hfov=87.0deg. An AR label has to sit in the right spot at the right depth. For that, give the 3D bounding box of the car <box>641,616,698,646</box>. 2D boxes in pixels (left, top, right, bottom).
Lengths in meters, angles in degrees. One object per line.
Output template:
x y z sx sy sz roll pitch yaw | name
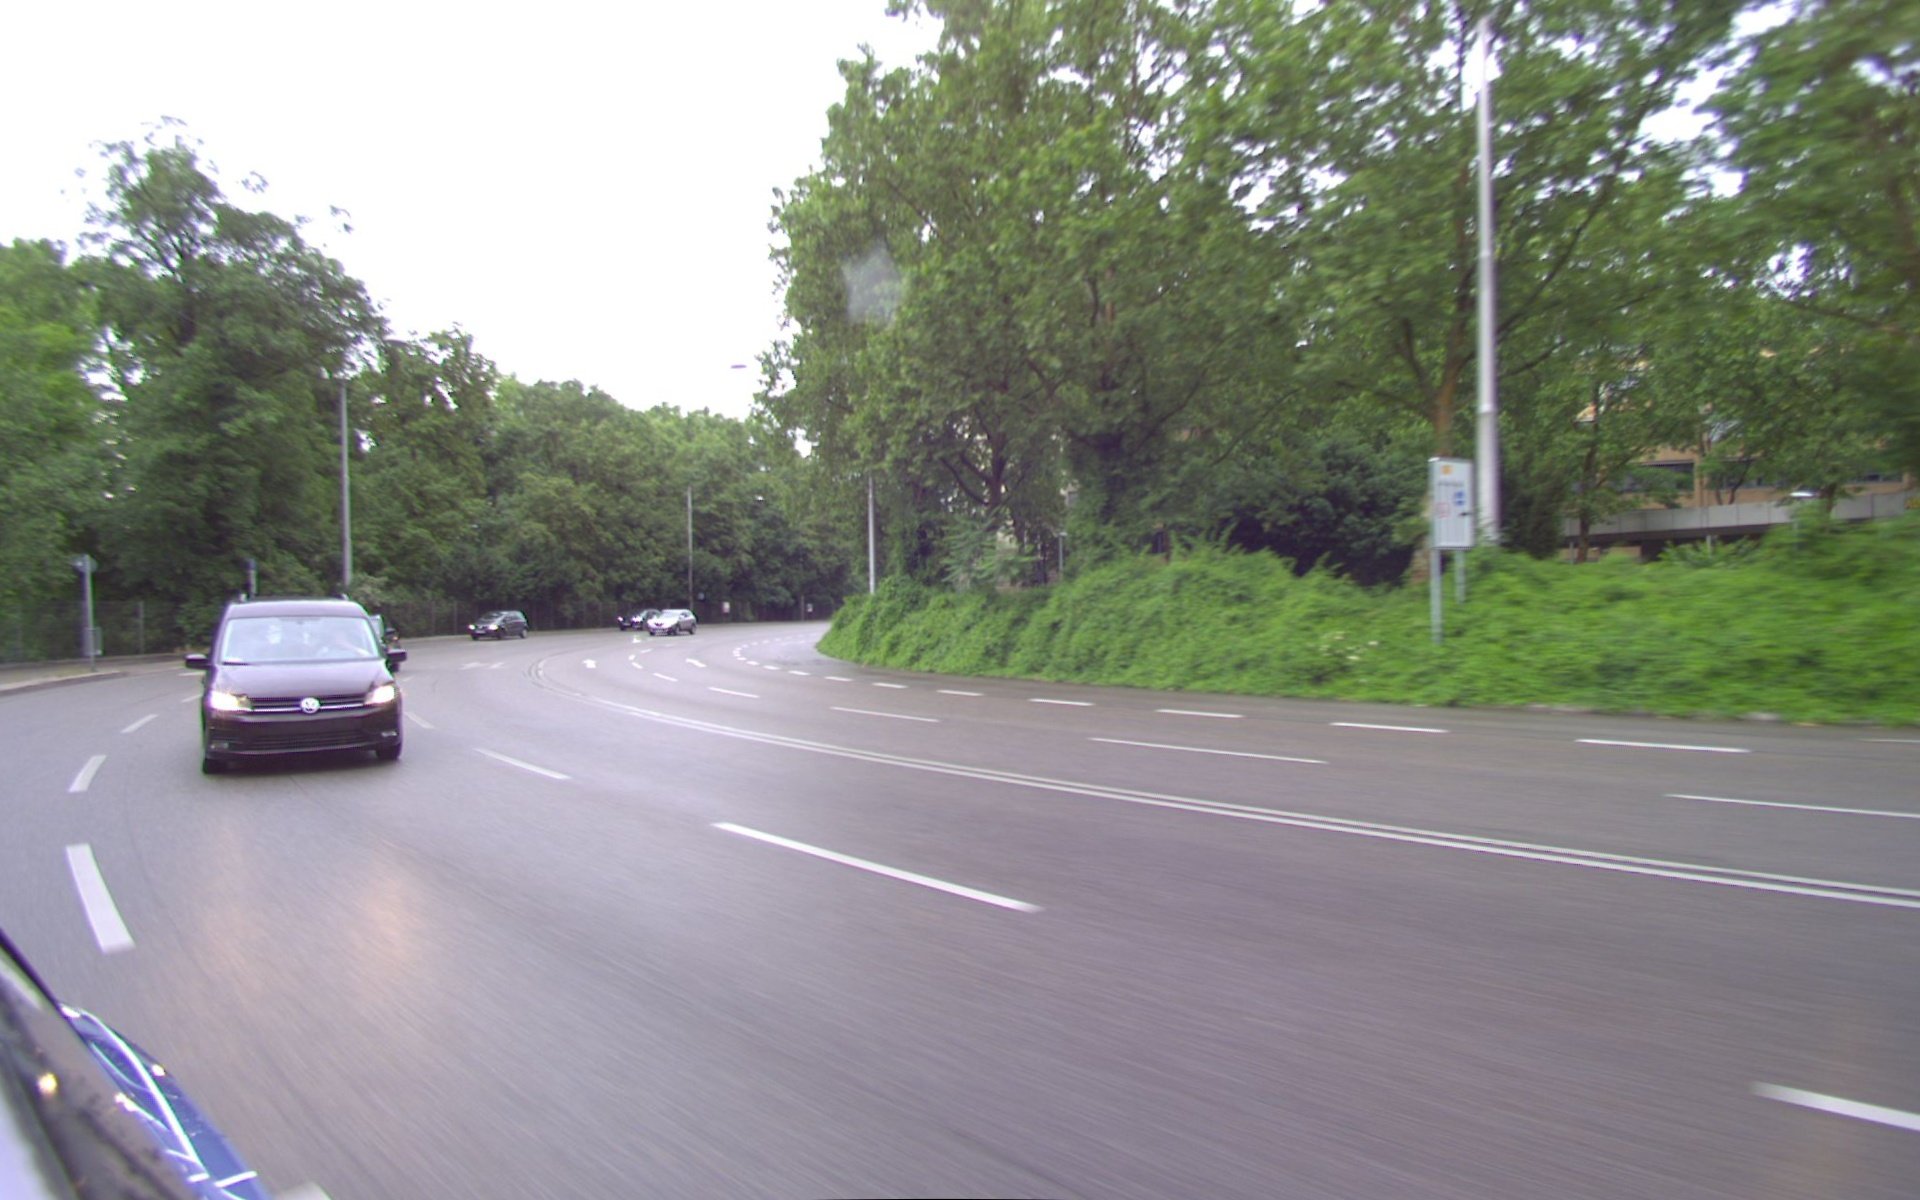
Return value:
-18.293 1.910 63.922 1.975 1.758 4.648 -1 0 5 | car

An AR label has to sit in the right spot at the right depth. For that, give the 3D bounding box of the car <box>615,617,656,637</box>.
-23.089 1.890 72.011 1.565 1.343 3.098 -1 0 9 | car

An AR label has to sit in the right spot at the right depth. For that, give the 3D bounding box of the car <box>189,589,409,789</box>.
-7.537 0.862 11.360 1.767 1.813 4.134 0 -2 -37 | car

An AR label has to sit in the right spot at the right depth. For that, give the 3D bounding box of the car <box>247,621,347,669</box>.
-22.473 1.473 34.477 1.765 1.464 4.012 -1 0 -16 | car

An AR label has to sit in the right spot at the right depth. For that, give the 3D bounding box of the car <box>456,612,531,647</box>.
-25.272 1.570 54.950 1.975 1.758 3.994 -1 0 5 | car
